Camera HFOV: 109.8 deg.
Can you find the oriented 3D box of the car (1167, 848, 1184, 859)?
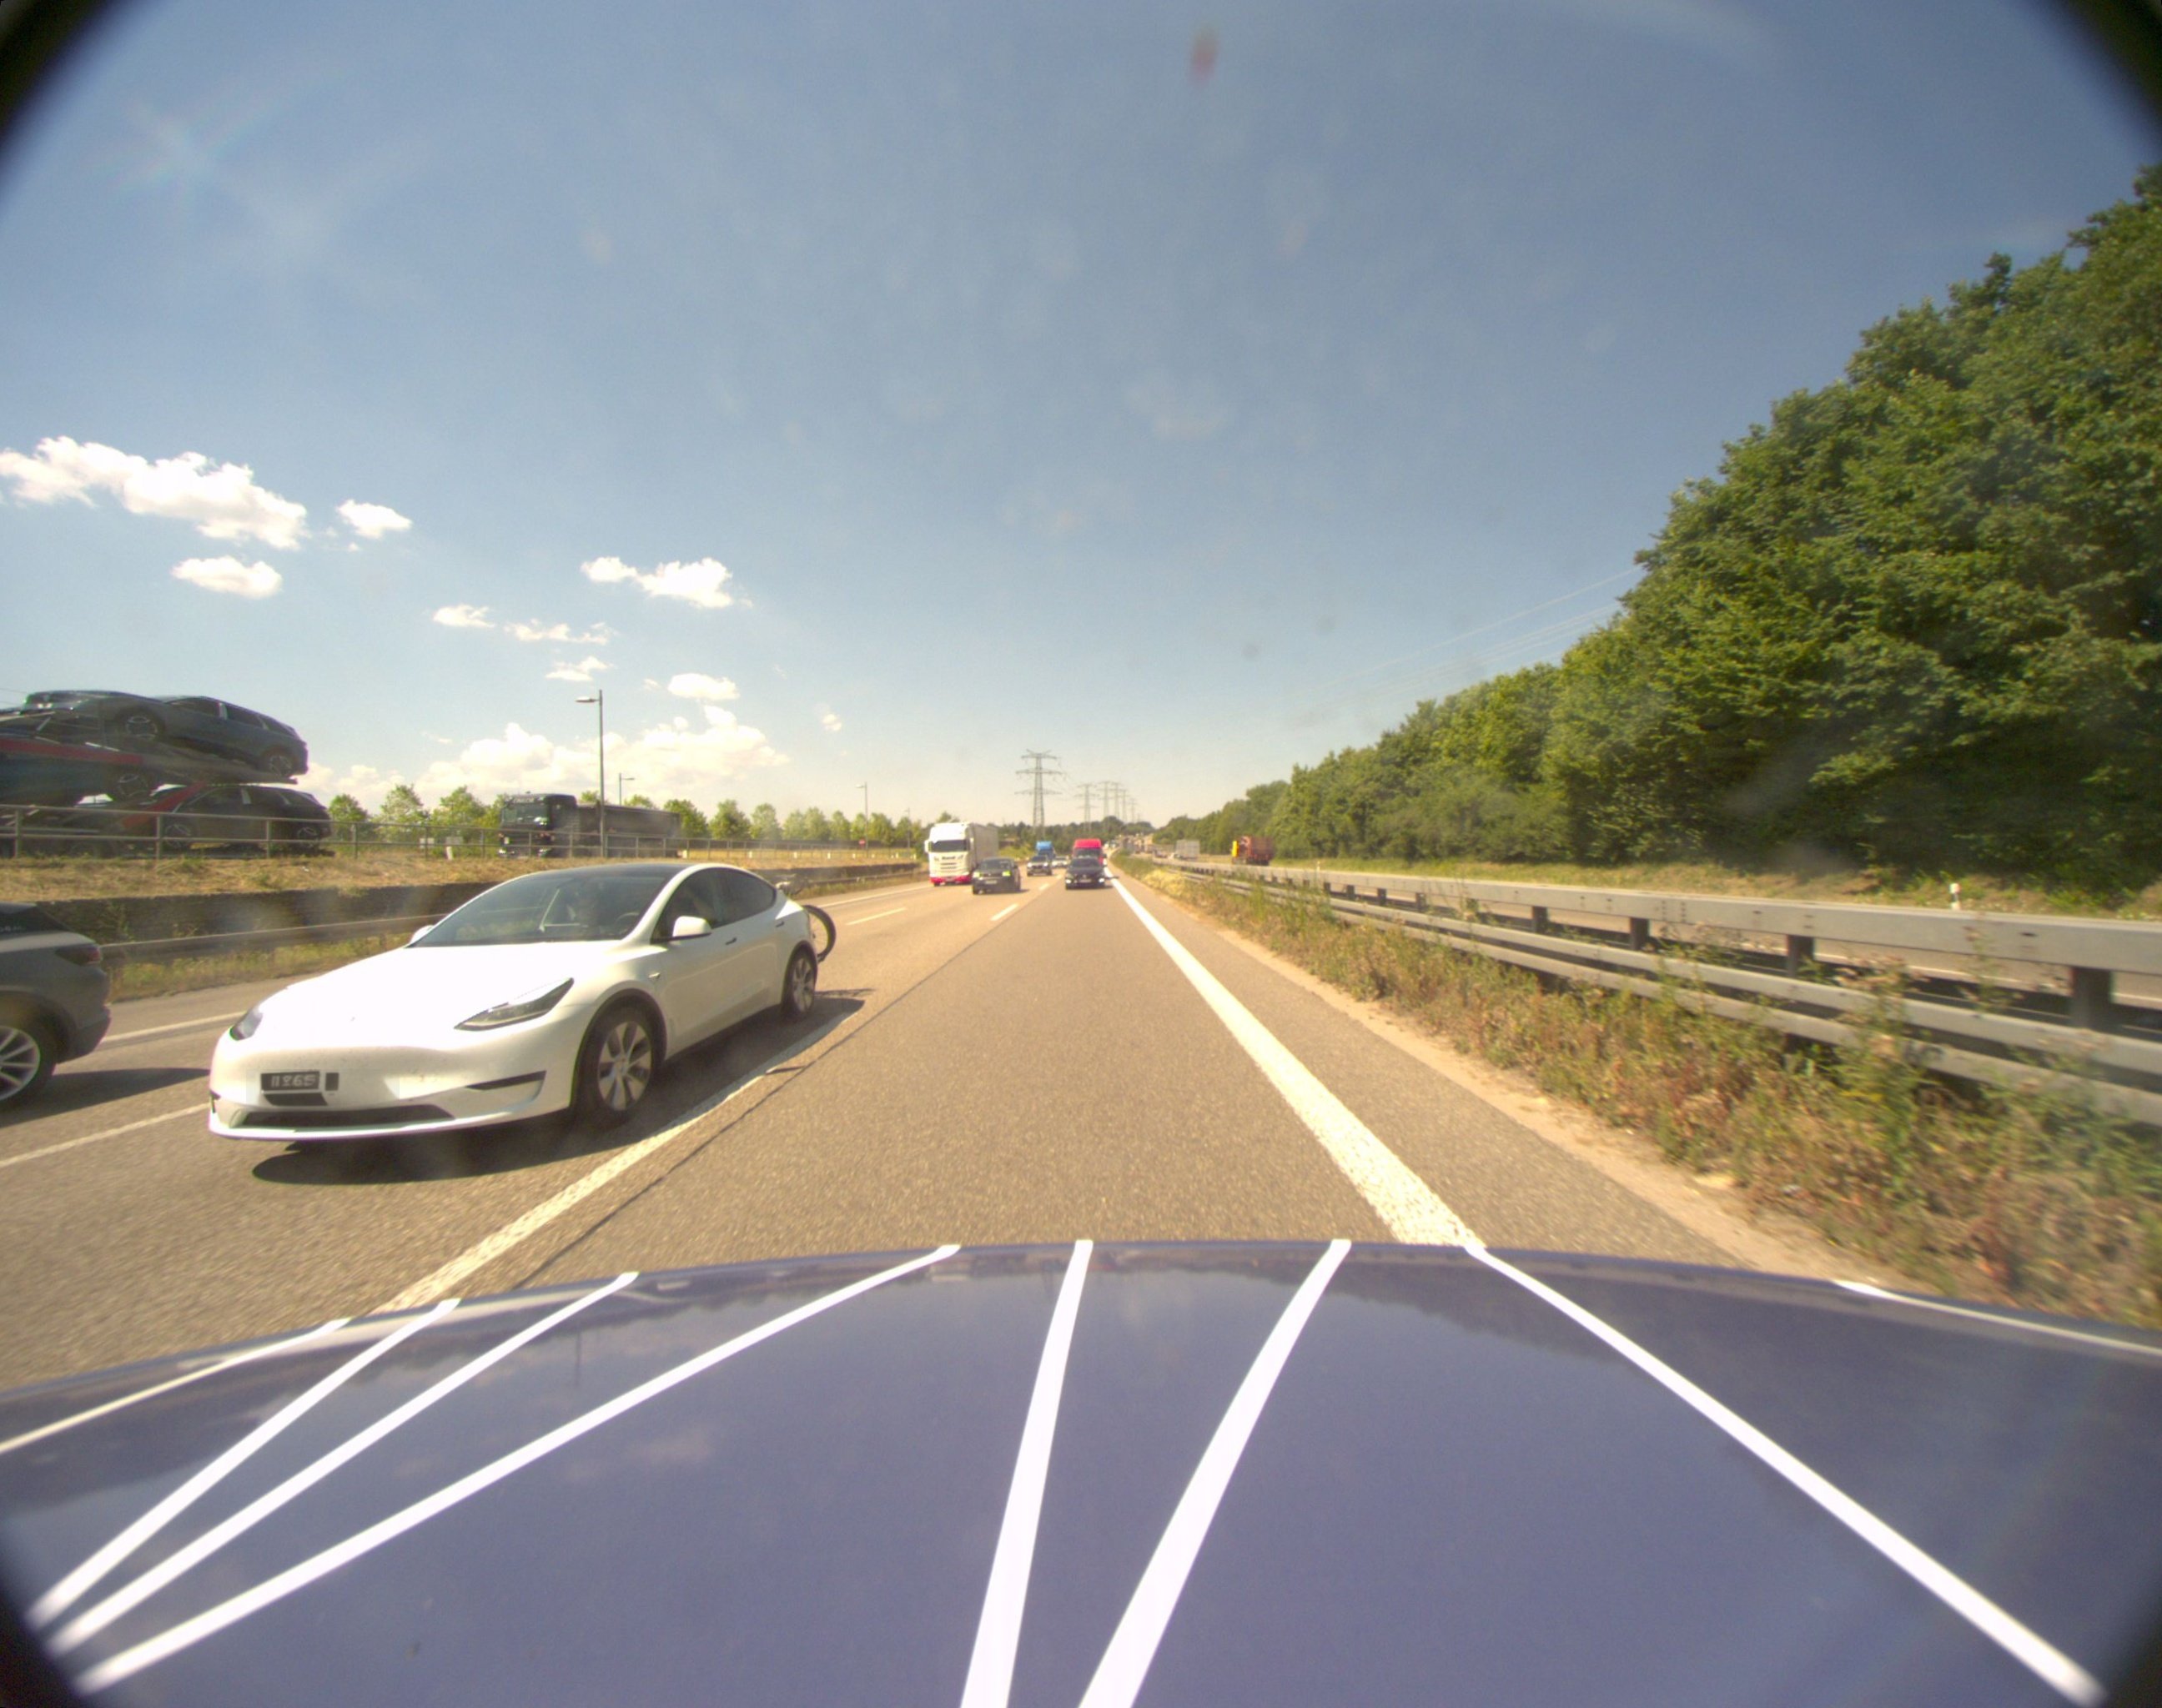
[{"bbox_3d":[15.014,-0.066,121.115,1.998,1.661,5.610,1,1,1],"label":"car"}]

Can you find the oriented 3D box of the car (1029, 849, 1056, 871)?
[{"bbox_3d":[-3.128,0.457,62.445,1.749,1.691,4.088,0,1,3],"label":"car"}]

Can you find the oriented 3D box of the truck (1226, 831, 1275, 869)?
[{"bbox_3d":[18.190,-0.518,82.364,2.789,3.717,11.156,-2,1,1],"label":"truck"}]

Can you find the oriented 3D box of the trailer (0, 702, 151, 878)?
[{"bbox_3d":[-26.606,-1.395,13.220,3.060,4.060,14.255,-2,1,0],"label":"trailer"}]

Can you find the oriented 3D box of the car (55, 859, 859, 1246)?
[{"bbox_3d":[-3.718,0.947,6.337,1.955,1.627,5.599,-3,1,1],"label":"car"}]

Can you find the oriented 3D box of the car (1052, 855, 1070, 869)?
[{"bbox_3d":[-2.417,0.952,91.381,1.878,1.591,3.688,0,1,3],"label":"car"}]

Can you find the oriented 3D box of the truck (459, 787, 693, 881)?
[{"bbox_3d":[-25.821,-0.970,40.311,3.798,4.060,12.516,-2,1,0],"label":"truck"}]

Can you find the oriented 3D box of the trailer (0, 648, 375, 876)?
[{"bbox_3d":[-21.534,-1.664,12.286,2.612,4.233,18.419,-2,1,1],"label":"trailer"}]

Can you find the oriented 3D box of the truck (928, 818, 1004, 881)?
[{"bbox_3d":[-7.902,-0.361,54.418,3.076,3.885,12.503,-2,1,1],"label":"truck"}]

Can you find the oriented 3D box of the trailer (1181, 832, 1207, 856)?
[{"bbox_3d":[20.851,-1.902,140.886,3.462,4.255,7.968,-3,1,0],"label":"trailer"}]

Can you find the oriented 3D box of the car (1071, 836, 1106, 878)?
[{"bbox_3d":[0.562,0.166,49.778,2.100,2.598,4.496,0,1,3],"label":"car"}]

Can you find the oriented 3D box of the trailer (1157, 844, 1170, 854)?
[{"bbox_3d":[22.962,-1.454,212.076,3.153,2.624,8.531,-2,1,2],"label":"trailer"}]

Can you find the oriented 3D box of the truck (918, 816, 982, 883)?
[{"bbox_3d":[-8.076,-0.285,47.373,3.076,3.885,3.847,-2,1,1],"label":"truck"}]

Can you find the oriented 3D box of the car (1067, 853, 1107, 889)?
[{"bbox_3d":[0.334,0.755,35.680,1.735,1.535,3.750,0,1,3],"label":"car"}]

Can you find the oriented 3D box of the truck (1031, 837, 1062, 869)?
[{"bbox_3d":[-5.850,-0.278,130.762,3.797,4.971,14.924,-2,1,2],"label":"truck"}]

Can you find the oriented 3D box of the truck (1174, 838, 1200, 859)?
[{"bbox_3d":[20.878,-1.002,150.374,3.462,3.971,11.122,-1,1,0],"label":"truck"}]

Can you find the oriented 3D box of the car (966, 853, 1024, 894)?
[{"bbox_3d":[-3.854,0.843,34.668,1.955,1.637,4.047,-3,1,3],"label":"car"}]

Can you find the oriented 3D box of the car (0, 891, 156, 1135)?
[{"bbox_3d":[-8.386,1.171,3.766,1.873,1.627,4.585,-2,1,1],"label":"car"}]
